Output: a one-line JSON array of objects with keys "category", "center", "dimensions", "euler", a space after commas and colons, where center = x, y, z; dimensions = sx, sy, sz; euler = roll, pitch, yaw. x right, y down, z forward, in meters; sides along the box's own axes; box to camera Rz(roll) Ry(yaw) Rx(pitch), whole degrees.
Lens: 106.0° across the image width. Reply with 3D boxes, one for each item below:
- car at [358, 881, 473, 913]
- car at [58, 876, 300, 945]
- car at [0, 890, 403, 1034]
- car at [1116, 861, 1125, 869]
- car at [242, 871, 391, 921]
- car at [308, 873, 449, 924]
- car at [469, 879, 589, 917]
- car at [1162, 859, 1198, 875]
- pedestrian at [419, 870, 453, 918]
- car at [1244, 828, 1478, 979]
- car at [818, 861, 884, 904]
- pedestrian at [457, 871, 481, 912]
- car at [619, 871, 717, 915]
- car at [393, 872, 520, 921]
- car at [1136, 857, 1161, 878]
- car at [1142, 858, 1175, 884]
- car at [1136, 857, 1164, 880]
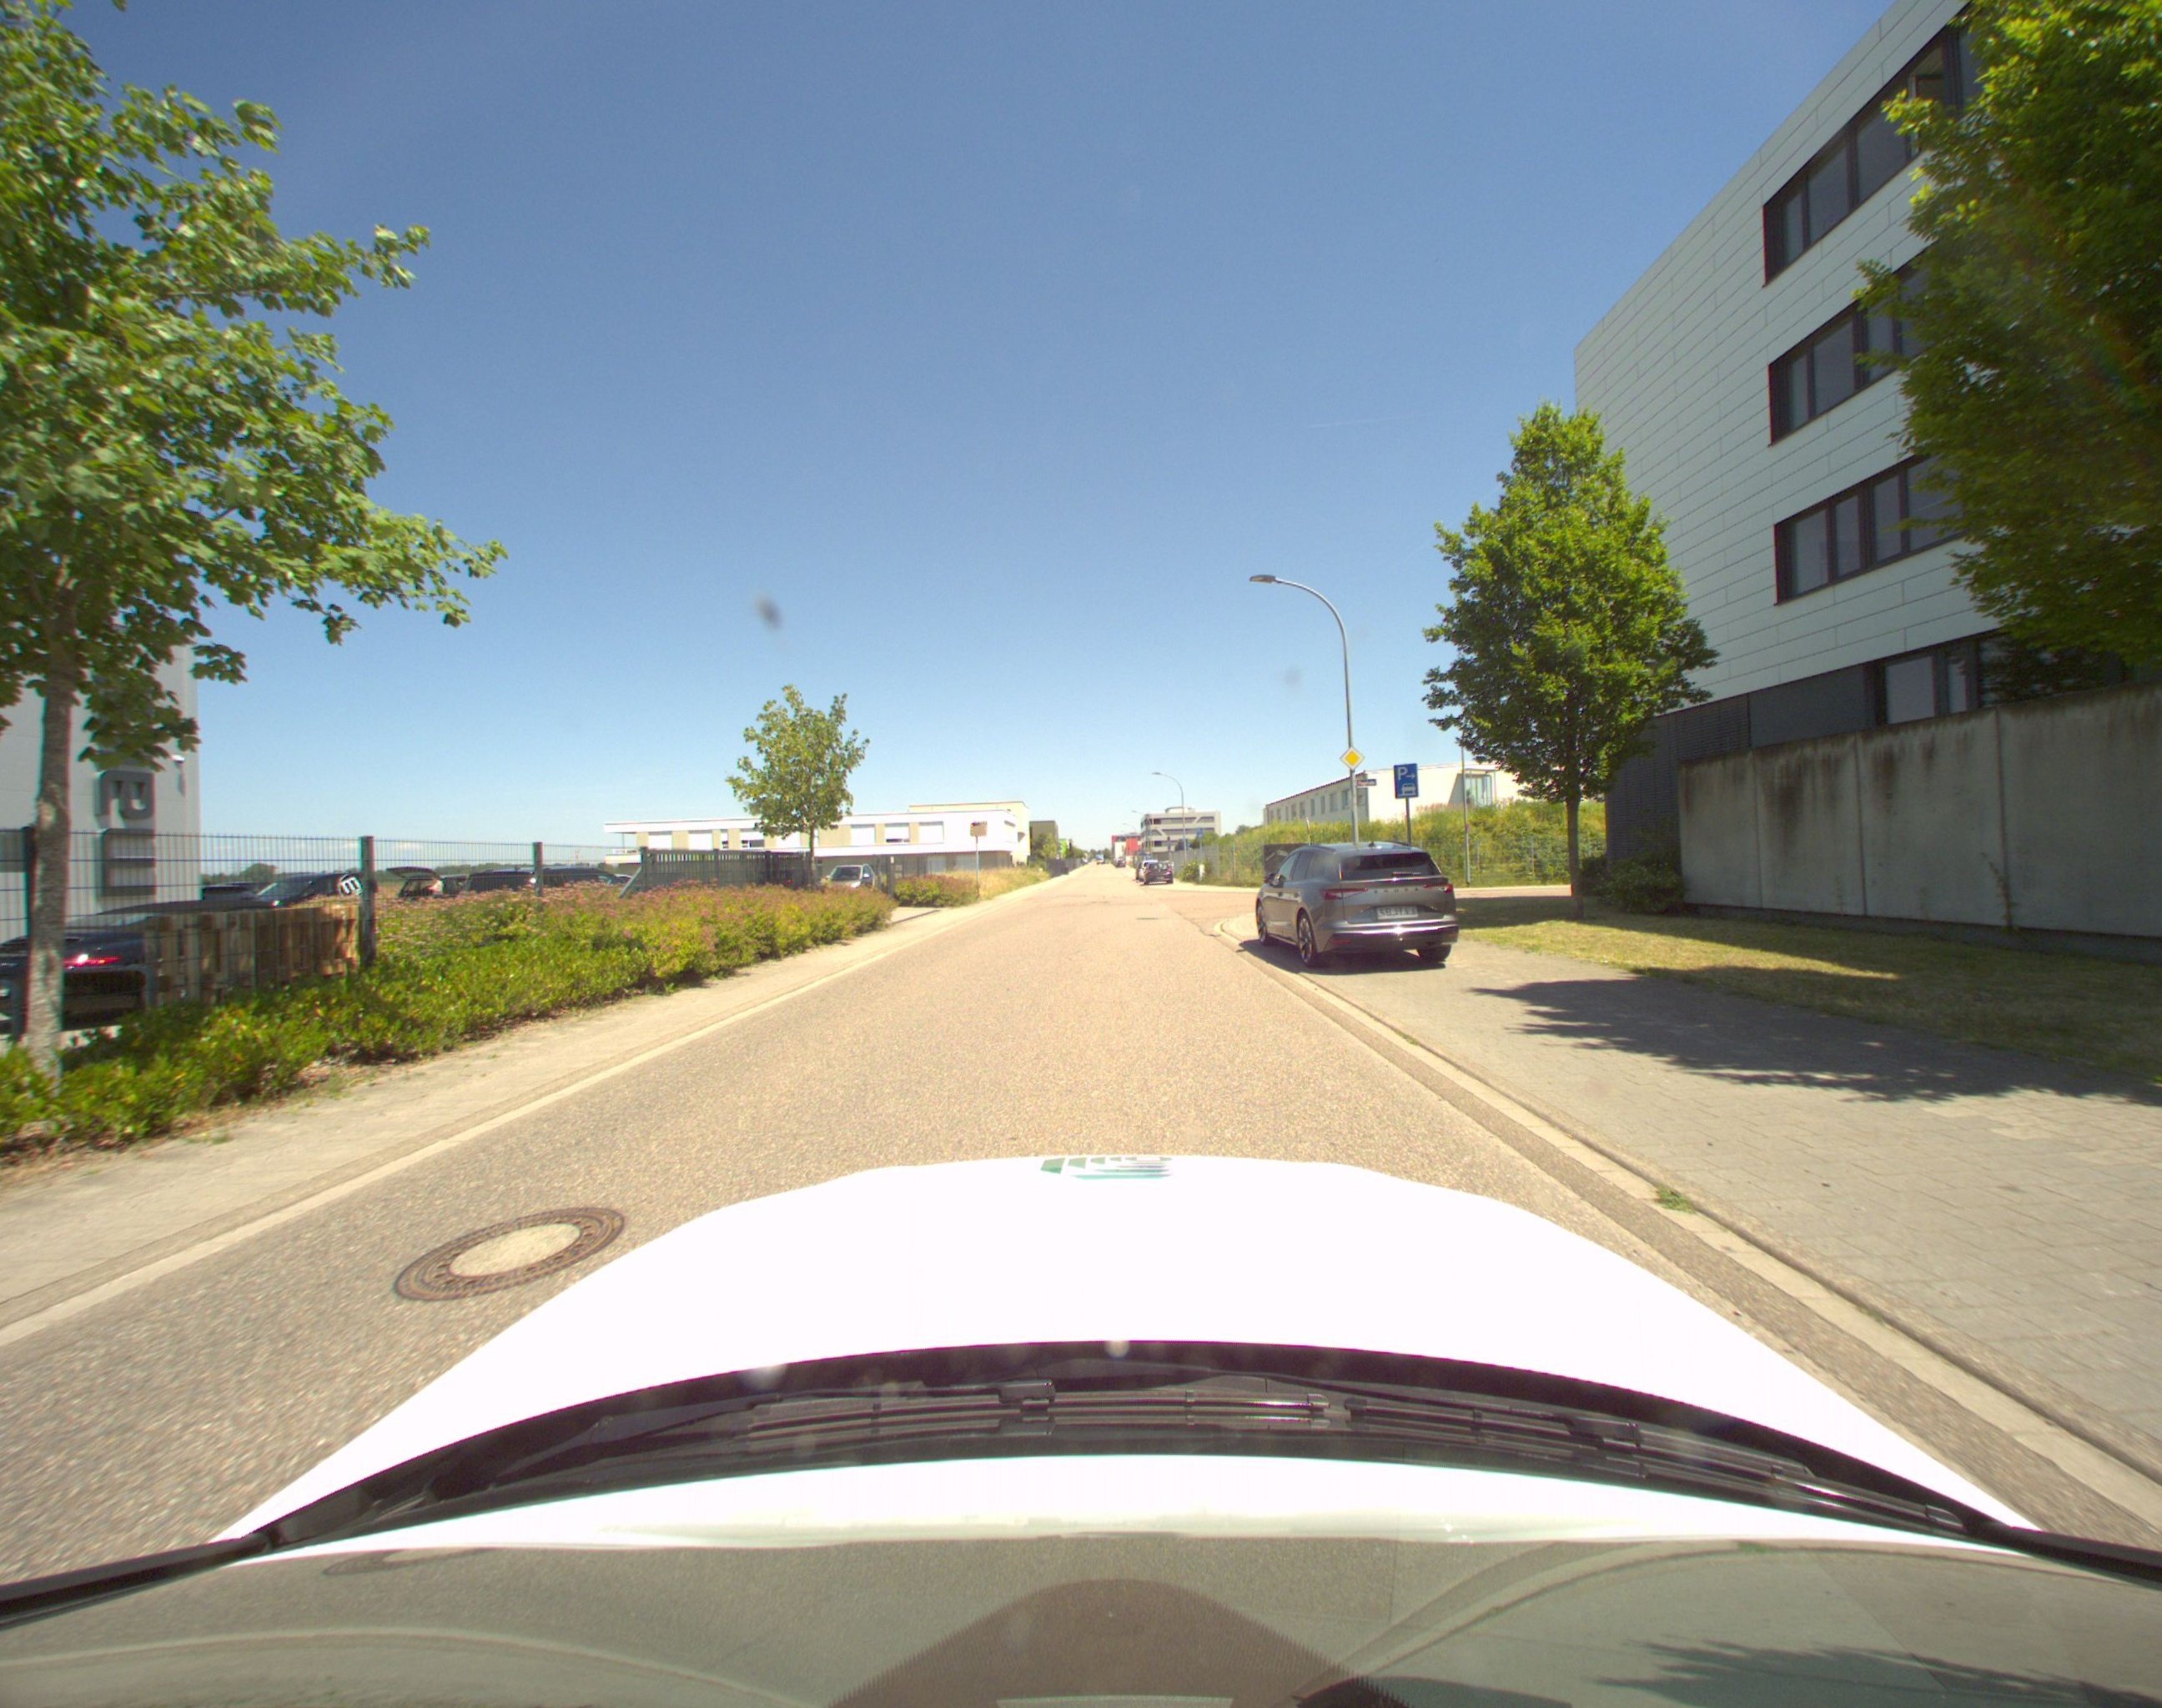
[{"category": "car", "center": [-28.418, 1.791, 34.932], "dimensions": [1.820, 1.134, 3.758], "euler": [-2, 0, -1]}, {"category": "car", "center": [-21.263, 1.304, 19.307], "dimensions": [3.841, 1.420, 1.799], "euler": [-2, -1, 3]}, {"category": "car", "center": [-11.195, 1.198, 10.271], "dimensions": [1.789, 1.281, 4.003], "euler": [-2, 0, 3]}, {"category": "car", "center": [7.799, 2.179, 162.178], "dimensions": [1.769, 1.728, 4.001], "euler": [0, 0, 2]}, {"category": "car", "center": [-27.852, 1.473, 29.861], "dimensions": [1.667, 1.605, 3.998], "euler": [-1, 0, -1]}, {"category": "car", "center": [-25.487, 1.566, 29.741], "dimensions": [1.667, 1.605, 3.998], "euler": [-2, 0, -1]}, {"category": "car", "center": [-20.001, 1.566, 29.705], "dimensions": [1.820, 1.134, 3.758], "euler": [-2, 0, -1]}, {"category": "car", "center": [13.136, 1.734, 108.007], "dimensions": [4.603, 2.014, 2.610], "euler": [0, 0, 4]}, {"category": "pedestrian", "center": [-22.116, 1.359, 27.920], "dimensions": [0.620, 1.629, 0.772], "euler": [-1, -1, -12]}, {"category": "car", "center": [3.785, 0.588, 11.983], "dimensions": [1.798, 1.662, 4.608], "euler": [-4, 0, 1]}, {"category": "car", "center": [-8.897, 1.063, 31.699], "dimensions": [1.695, 1.520, 2.996], "euler": [-2, 0, -1]}, {"category": "pedestrian", "center": [-21.906, 1.328, 29.147], "dimensions": [0.489, 1.413, 0.494], "euler": [-1, -1, -13]}, {"category": "car", "center": [-15.541, 1.421, 30.851], "dimensions": [1.667, 1.440, 3.998], "euler": [-2, 0, -1]}, {"category": "car", "center": [-23.199, 1.524, 30.447], "dimensions": [1.667, 1.605, 3.998], "euler": [-2, 0, -1]}, {"category": "car", "center": [5.513, 1.074, 66.618], "dimensions": [1.899, 1.546, 4.005], "euler": [-4, -1, 4]}, {"category": "car", "center": [4.858, 1.023, 51.308], "dimensions": [1.899, 1.448, 4.005], "euler": [-4, -1, 4]}, {"category": "car", "center": [5.107, 1.080, 60.691], "dimensions": [1.899, 1.546, 4.005], "euler": [-4, -1, 4]}]
